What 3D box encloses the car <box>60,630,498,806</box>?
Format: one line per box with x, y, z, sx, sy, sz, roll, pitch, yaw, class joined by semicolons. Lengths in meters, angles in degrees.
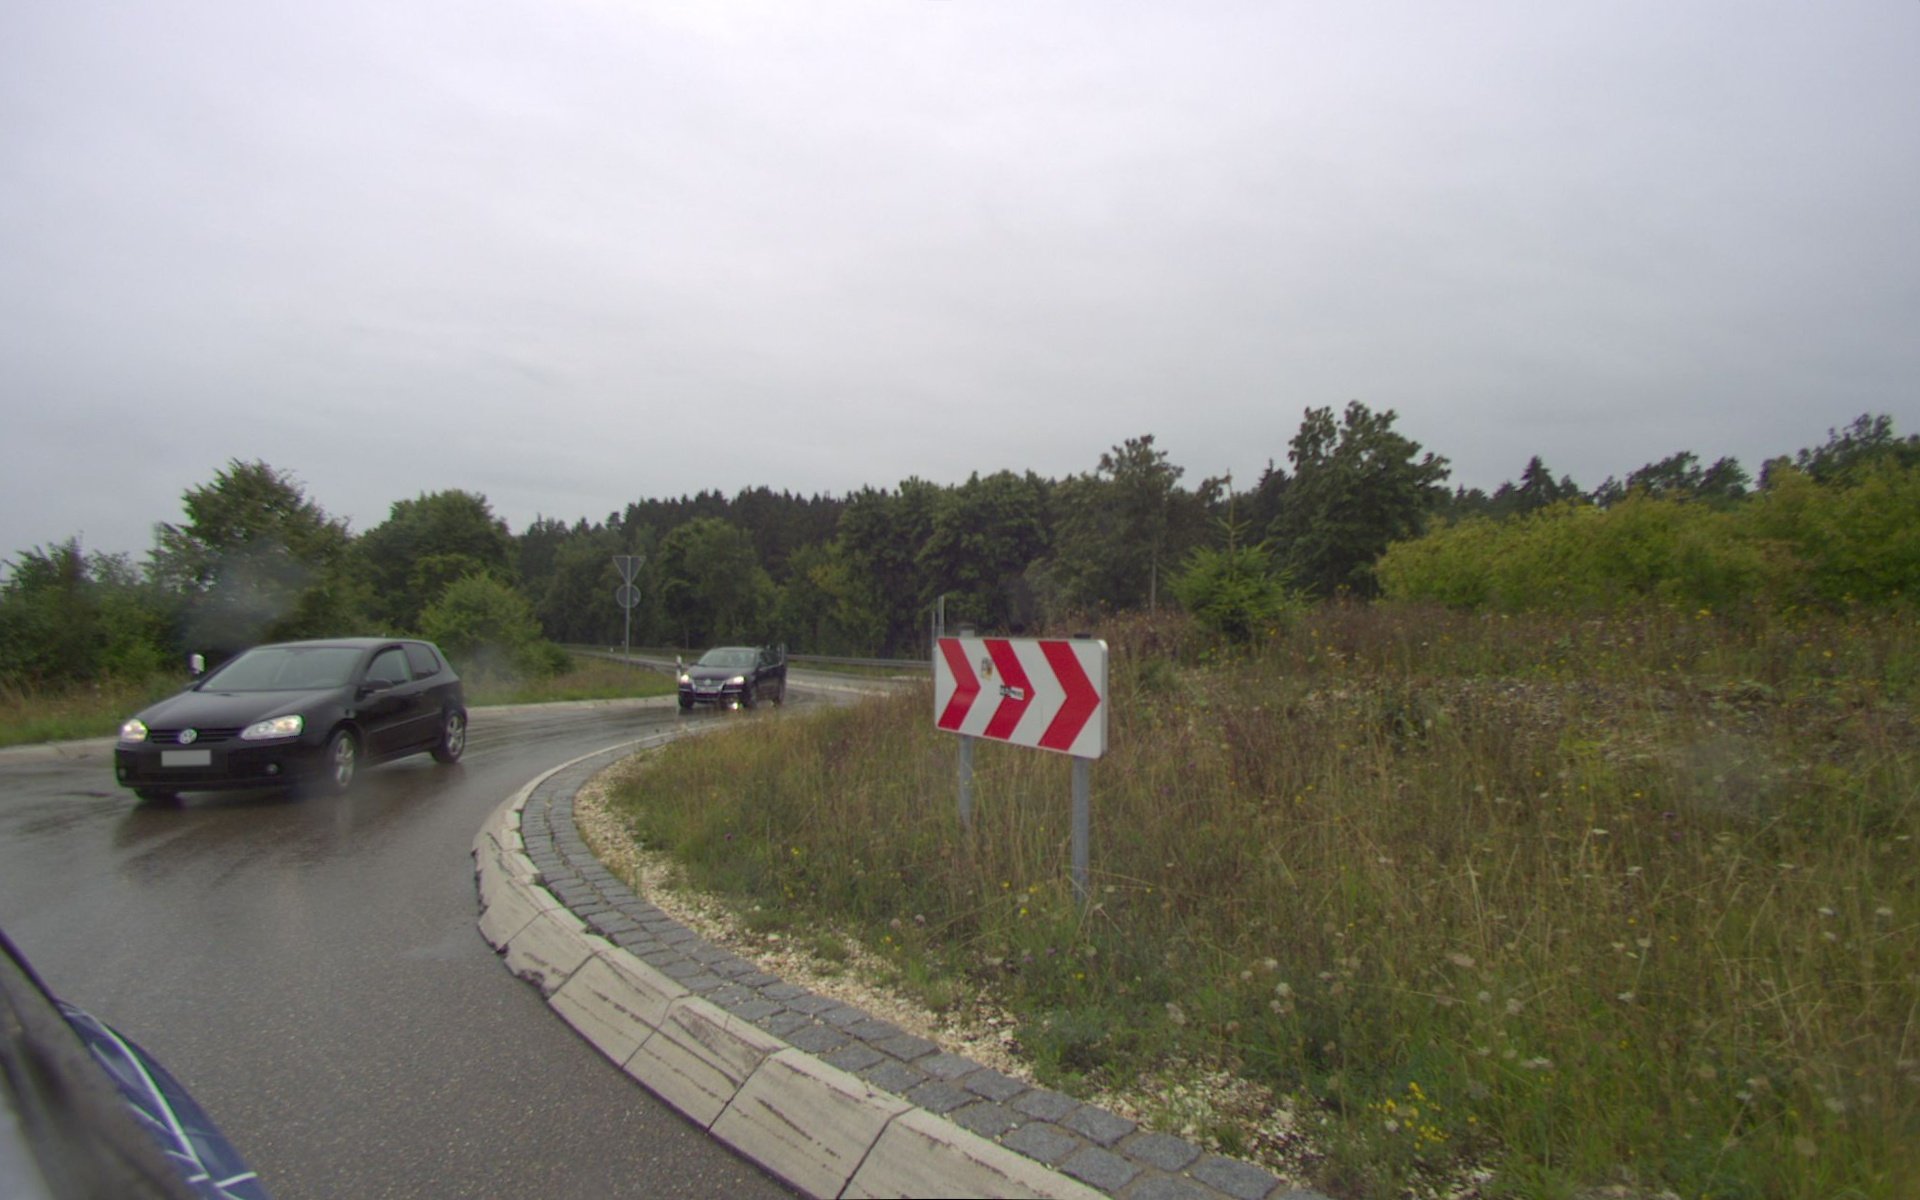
-6.614;1.097;10.586;1.845;1.432;4.508;1;-3;-5;car

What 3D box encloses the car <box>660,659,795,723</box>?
-5.509;2.168;24.605;1.925;1.382;4.496;0;-4;4;car

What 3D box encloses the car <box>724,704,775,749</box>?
-7.931;4.676;37.920;1.735;1.432;4.514;2;-4;-13;car
